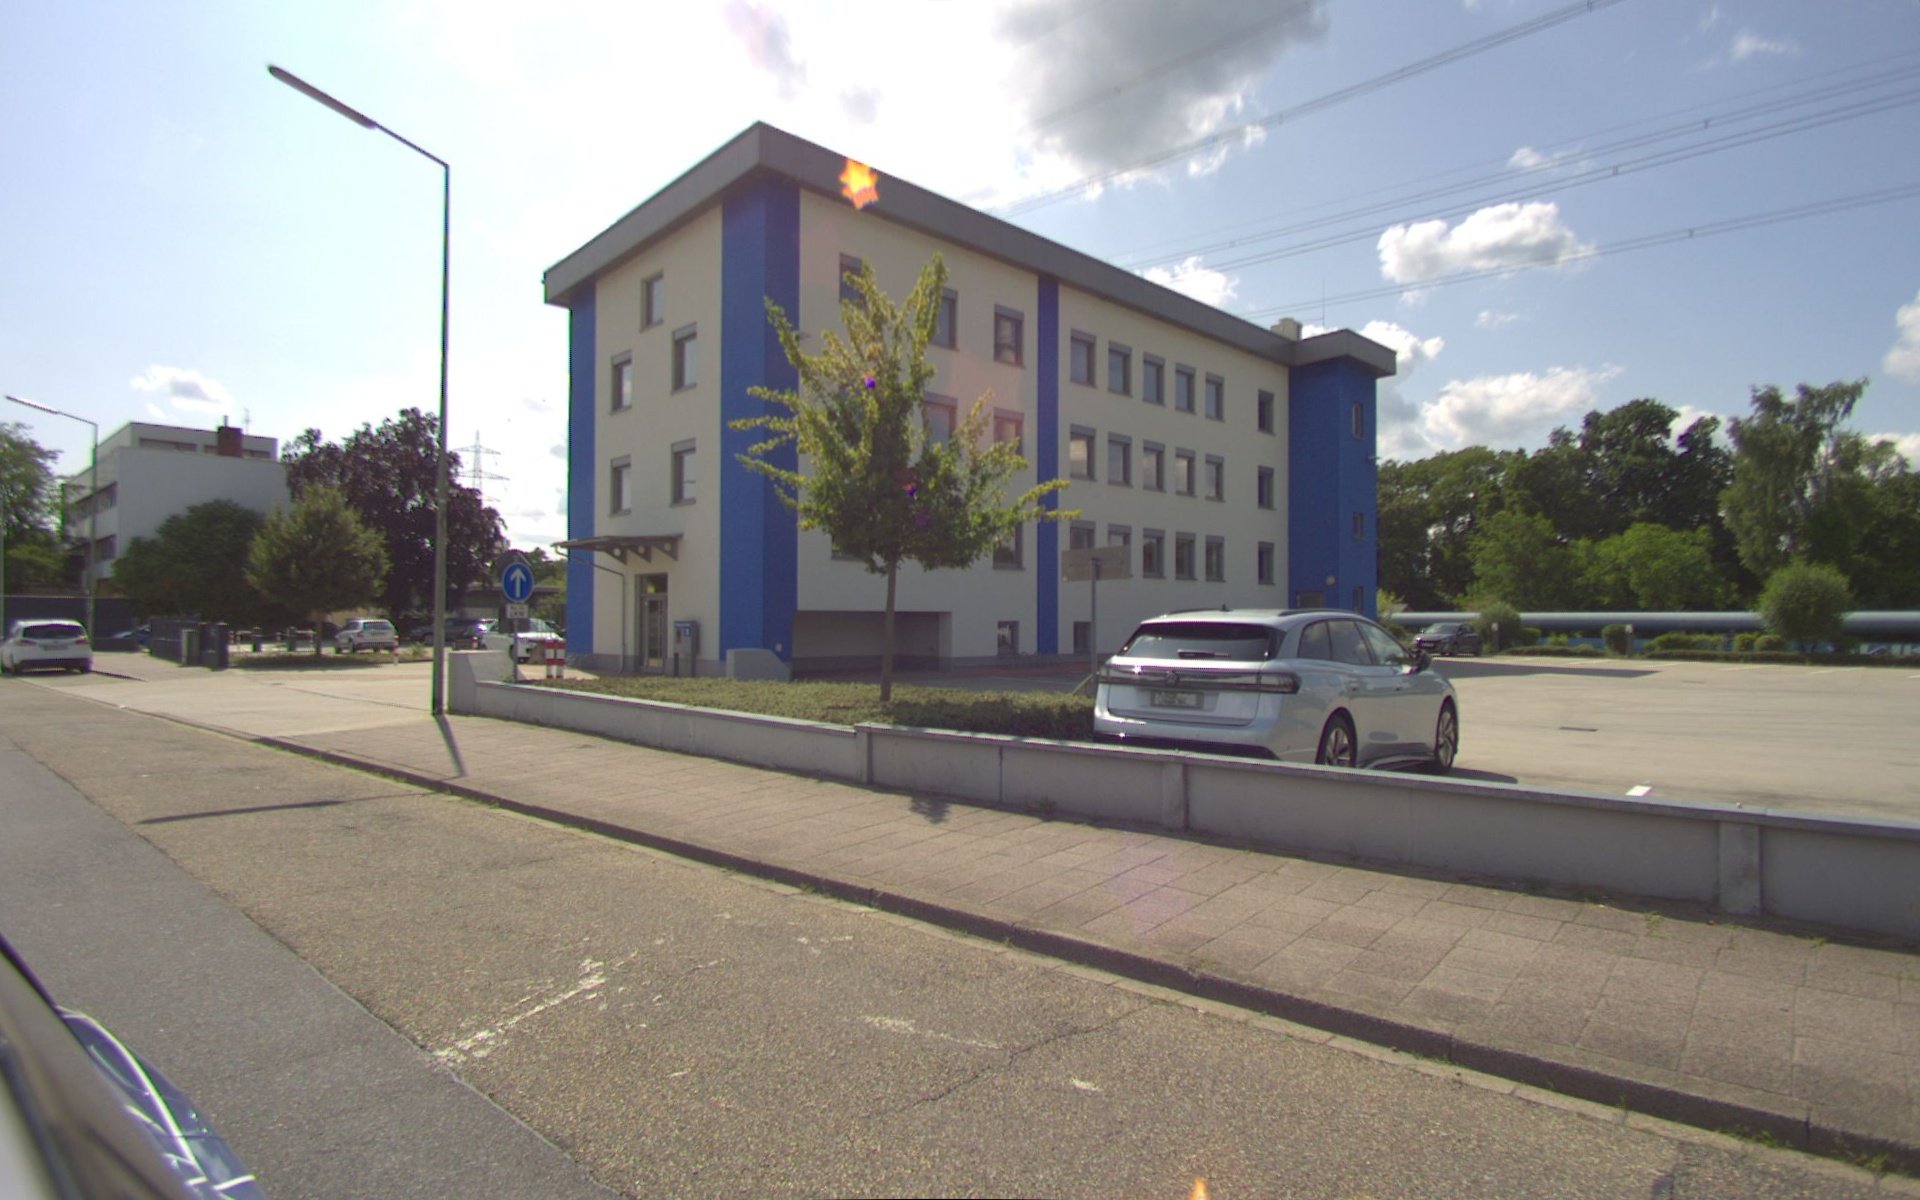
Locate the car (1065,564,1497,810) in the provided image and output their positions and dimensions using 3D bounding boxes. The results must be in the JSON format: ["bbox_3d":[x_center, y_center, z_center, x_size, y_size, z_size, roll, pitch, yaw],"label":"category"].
[{"bbox_3d":[3.118,0.599,9.104,1.999,1.614,4.705,-1,-1,41],"label":"car"}]

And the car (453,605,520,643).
[{"bbox_3d":[-22.449,1.136,47.948,1.850,1.721,3.483,1,-2,-43],"label":"car"}]

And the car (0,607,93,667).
[{"bbox_3d":[-28.433,1.089,31.248,4.750,1.721,1.848,-1,0,41],"label":"car"}]

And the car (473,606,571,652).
[{"bbox_3d":[-15.342,0.988,35.401,3.759,1.518,1.852,-1,-2,44],"label":"car"}]

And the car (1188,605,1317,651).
[{"bbox_3d":[9.336,0.886,32.458,1.544,1.386,3.682,1,-2,-45],"label":"car"}]

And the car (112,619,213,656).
[{"bbox_3d":[-39.116,1.815,49.684,1.877,1.721,3.610,-1,-2,40],"label":"car"}]

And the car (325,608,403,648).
[{"bbox_3d":[-26.232,1.210,44.504,1.803,1.649,4.848,2,-2,-45],"label":"car"}]

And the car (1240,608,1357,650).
[{"bbox_3d":[12.146,1.016,36.415,1.544,1.386,3.683,1,0,-45],"label":"car"}]

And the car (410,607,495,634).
[{"bbox_3d":[-29.830,1.230,59.545,4.150,1.513,1.682,2,-2,-45],"label":"car"}]
